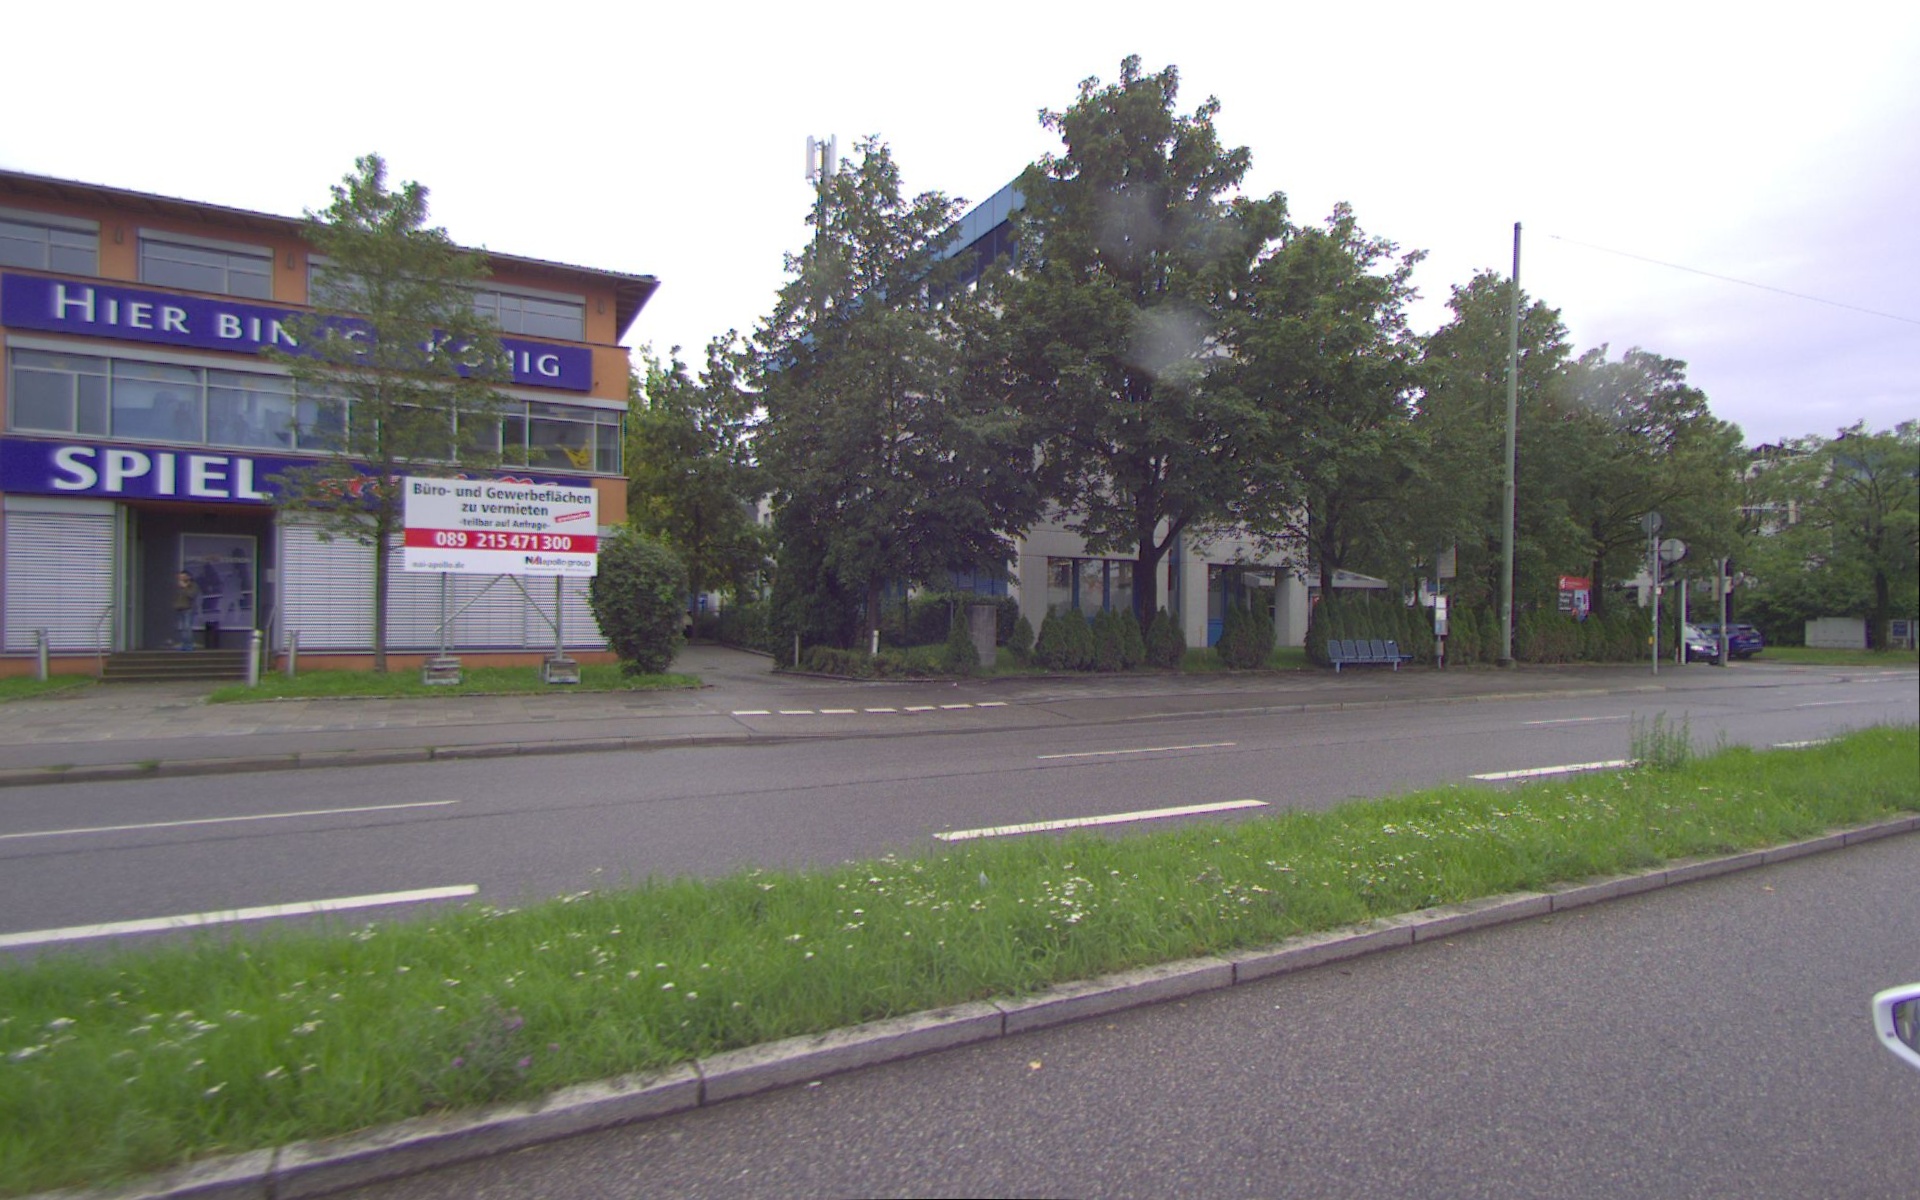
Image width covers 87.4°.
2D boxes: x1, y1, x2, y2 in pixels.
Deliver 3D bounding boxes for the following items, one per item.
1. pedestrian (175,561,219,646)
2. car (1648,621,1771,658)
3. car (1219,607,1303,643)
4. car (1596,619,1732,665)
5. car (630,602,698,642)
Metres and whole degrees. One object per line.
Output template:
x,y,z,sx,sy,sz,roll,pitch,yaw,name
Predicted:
-16.069,0.074,21.162,0.658,1.735,0.652,1,0,-44,pedestrian
35.373,1.825,47.541,1.969,1.595,4.265,-1,-1,-19,car
13.219,1.061,44.346,1.836,1.437,4.168,1,0,-11,car
28.731,1.702,41.221,1.962,1.745,4.788,1,-2,-5,car
-11.894,0.854,40.257,1.747,1.504,3.862,1,0,-30,car
